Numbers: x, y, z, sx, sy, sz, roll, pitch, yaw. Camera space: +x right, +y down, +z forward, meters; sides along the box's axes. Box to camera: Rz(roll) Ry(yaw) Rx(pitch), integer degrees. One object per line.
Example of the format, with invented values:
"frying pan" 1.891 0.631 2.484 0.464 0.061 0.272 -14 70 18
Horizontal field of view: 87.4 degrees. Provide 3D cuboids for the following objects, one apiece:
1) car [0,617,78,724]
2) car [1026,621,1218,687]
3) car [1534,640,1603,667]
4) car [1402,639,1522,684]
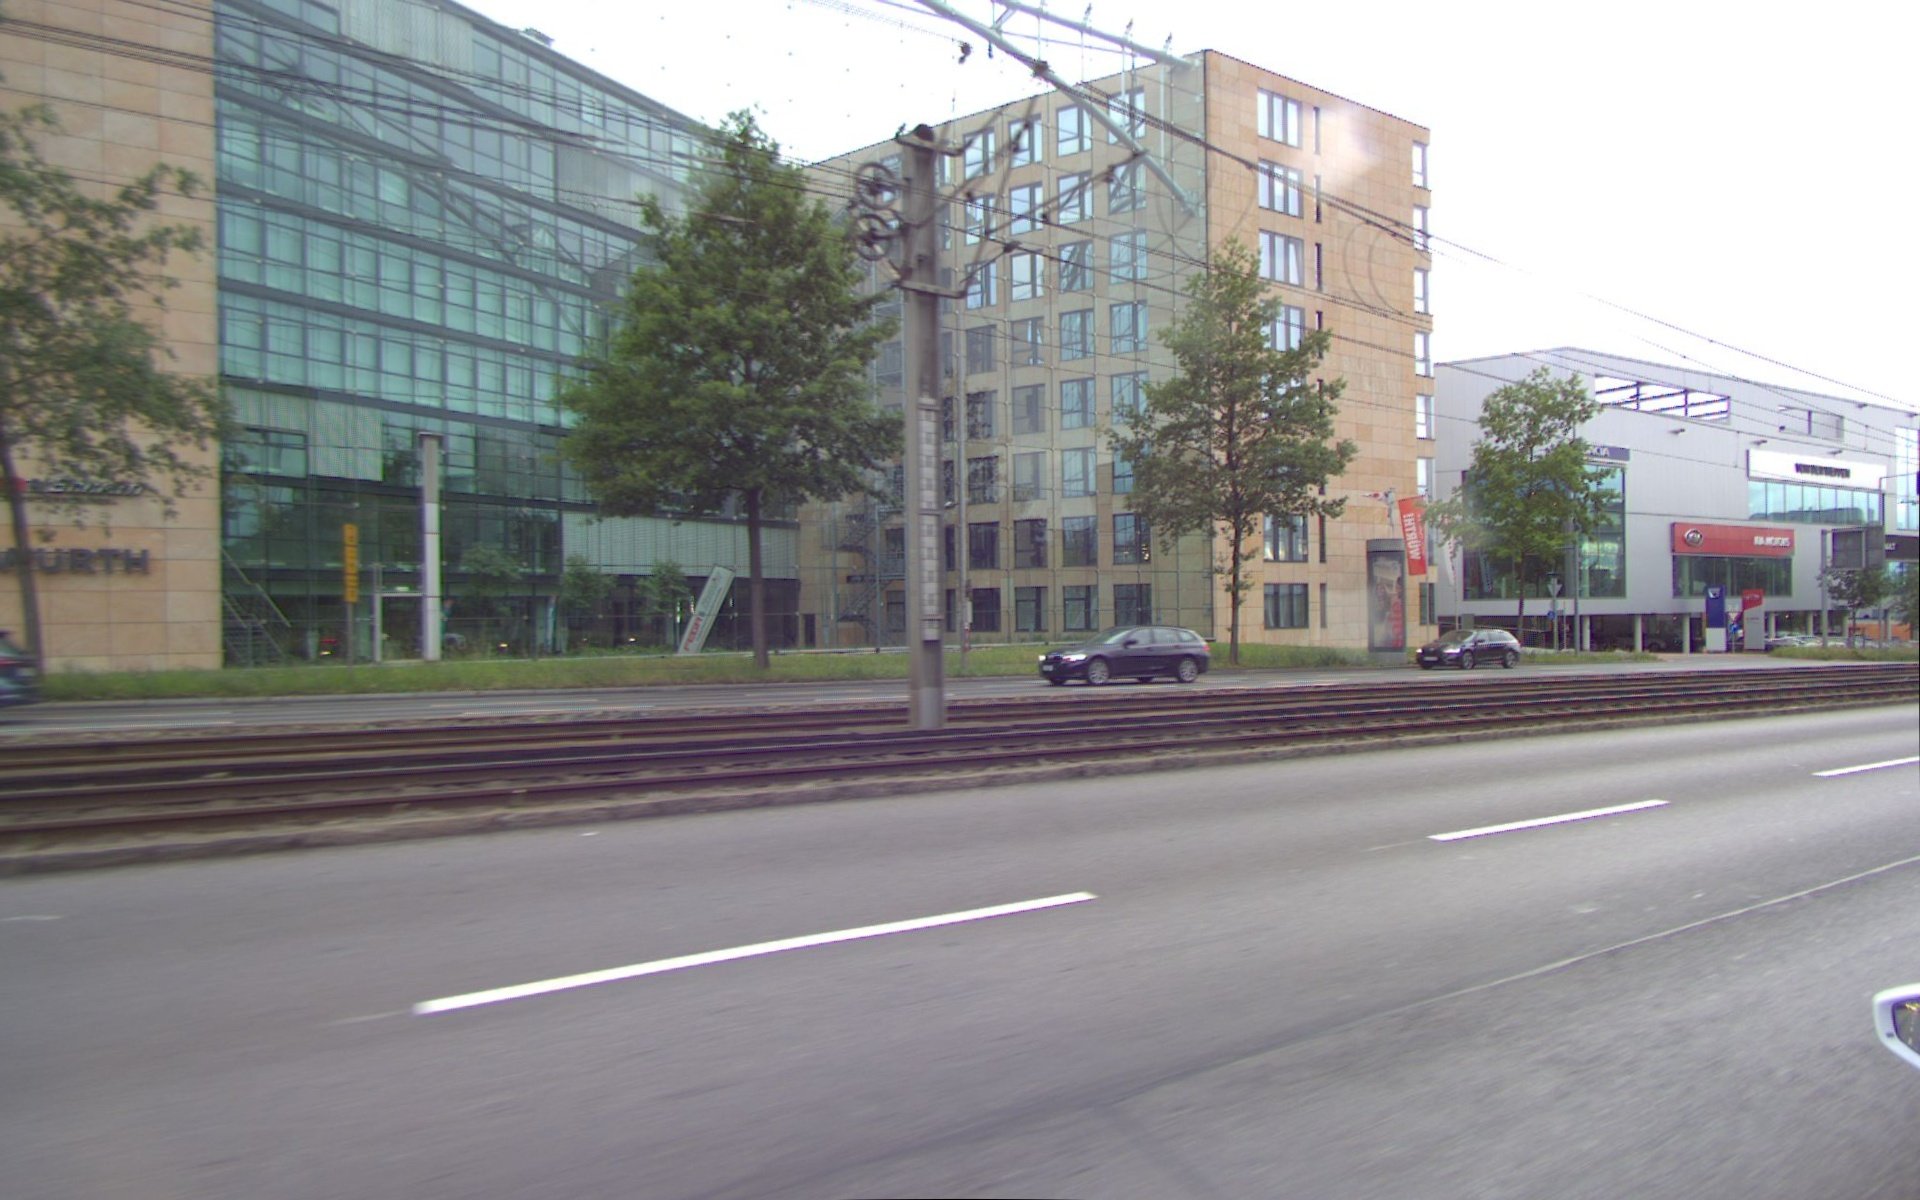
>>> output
"car" -15.565 1.024 13.995 4.599 1.505 1.833 1 -4 -30
"car" 4.050 1.326 24.942 4.599 1.505 1.833 1 -4 -30
"car" 42.754 3.728 70.543 4.882 1.748 1.984 2 0 -30
"car" 18.489 2.248 36.970 4.378 1.505 1.833 1 -4 -30
